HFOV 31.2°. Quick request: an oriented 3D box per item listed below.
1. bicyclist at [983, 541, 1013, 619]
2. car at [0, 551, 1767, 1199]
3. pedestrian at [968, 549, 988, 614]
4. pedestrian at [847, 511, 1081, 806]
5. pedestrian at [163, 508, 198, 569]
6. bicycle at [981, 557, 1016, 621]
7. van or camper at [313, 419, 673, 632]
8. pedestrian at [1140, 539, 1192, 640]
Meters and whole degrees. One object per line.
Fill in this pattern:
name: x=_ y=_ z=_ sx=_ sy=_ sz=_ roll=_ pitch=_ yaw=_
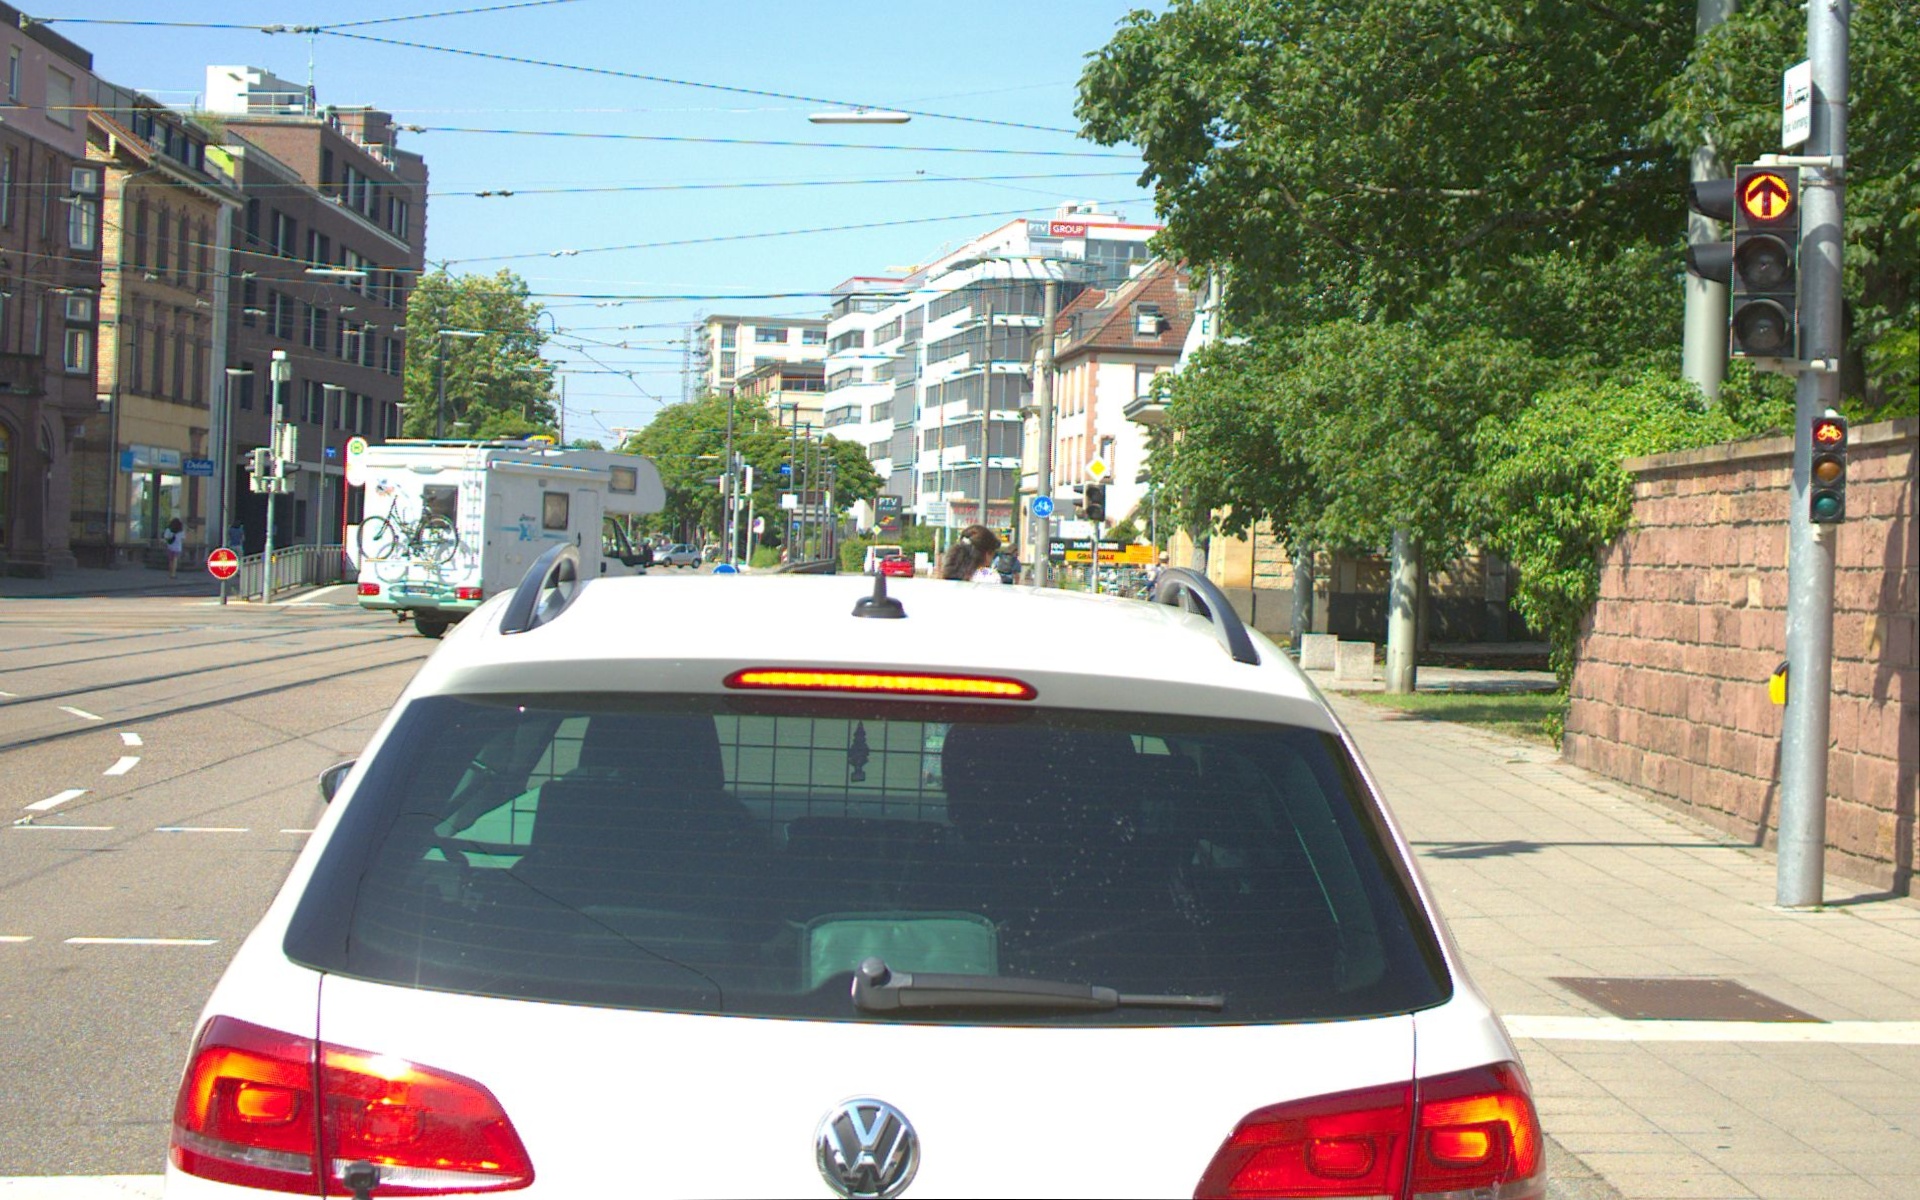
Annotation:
bicyclist: x=0.792 y=-0.404 z=71.222 sx=0.561 sy=1.607 sz=0.638 roll=0 pitch=0 yaw=-5
car: x=-0.145 y=0.680 z=5.453 sx=1.808 sy=1.443 sz=4.000 roll=2 pitch=1 yaw=-1
pedestrian: x=0.655 y=-0.665 z=124.197 sx=0.690 sy=2.317 sz=1.232 roll=0 pitch=0 yaw=1
pedestrian: x=0.025 y=0.326 z=19.885 sx=0.955 sy=1.645 sz=0.973 roll=0 pitch=0 yaw=37
pedestrian: x=-22.357 y=-1.762 z=98.624 sx=0.861 sy=1.737 sz=0.975 roll=0 pitch=0 yaw=-6
bicycle: x=0.793 y=-0.227 z=71.253 sx=0.558 sy=1.293 sz=2.250 roll=0 pitch=0 yaw=-4
van or camper: x=-7.072 y=-1.074 z=52.773 sx=2.571 sy=3.082 sz=5.693 roll=0 pitch=0 yaw=29
pedestrian: x=3.595 y=-0.178 z=59.828 sx=0.862 sy=1.737 sz=0.975 roll=0 pitch=0 yaw=6
